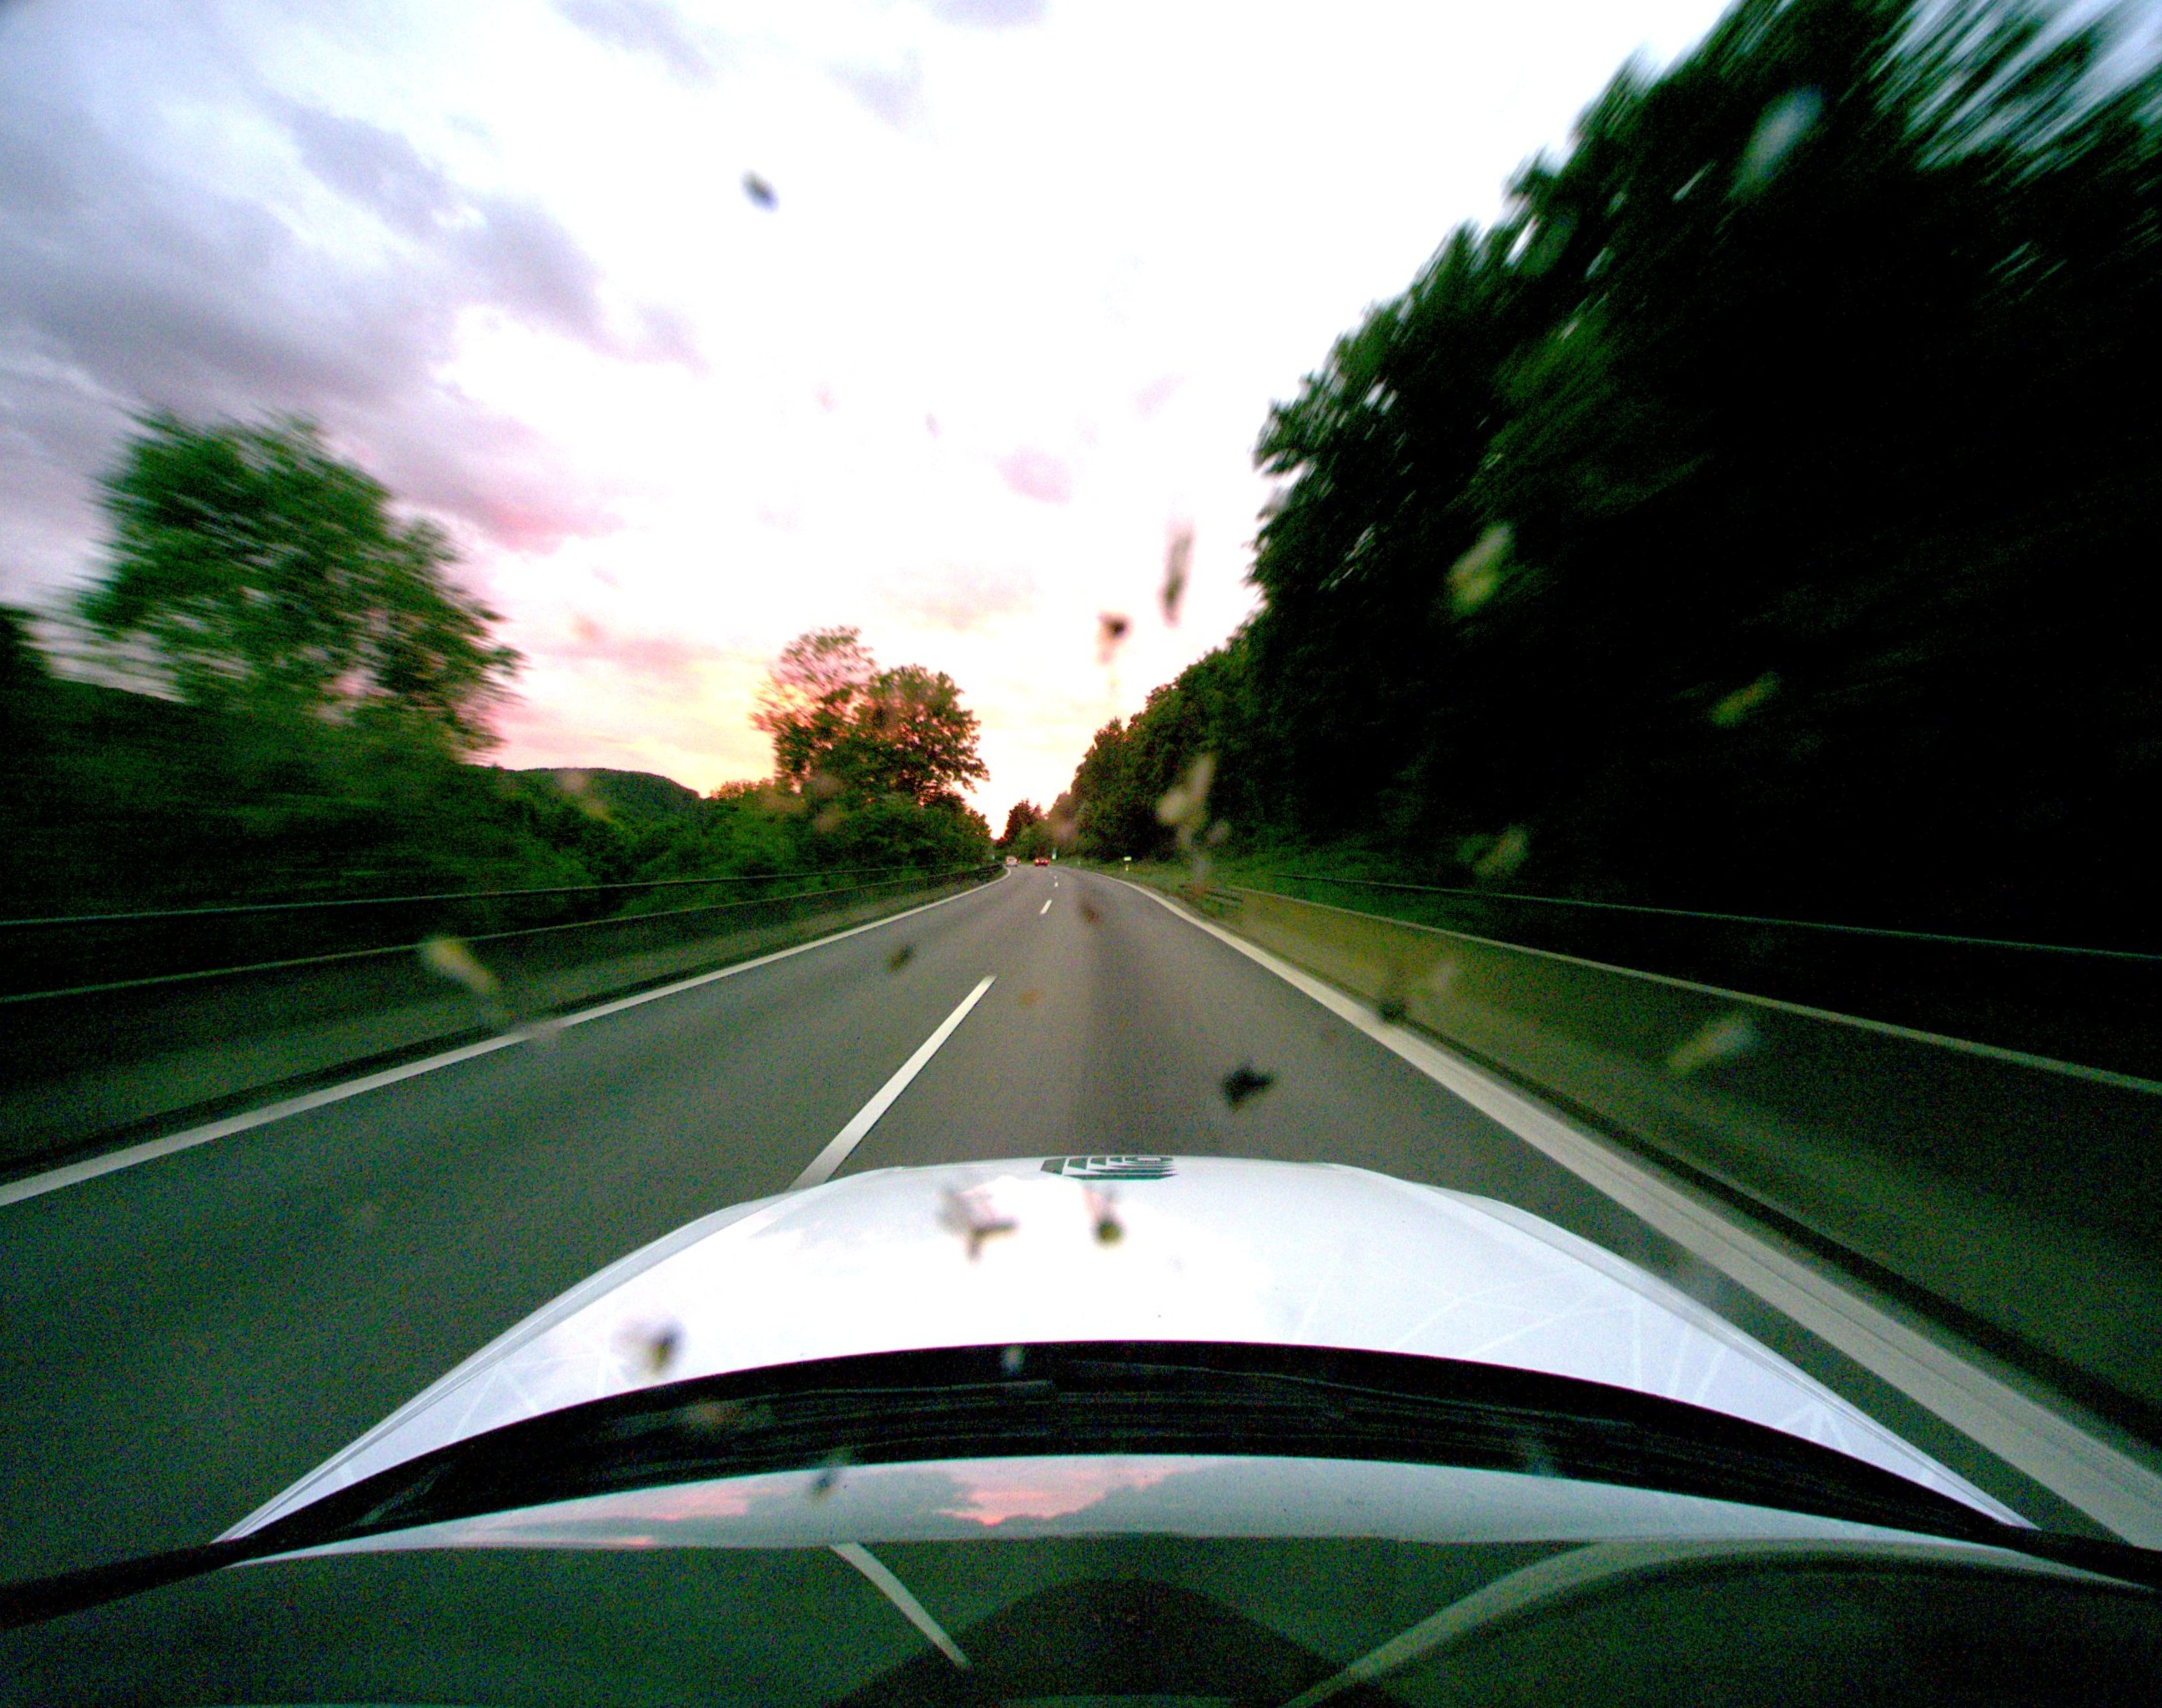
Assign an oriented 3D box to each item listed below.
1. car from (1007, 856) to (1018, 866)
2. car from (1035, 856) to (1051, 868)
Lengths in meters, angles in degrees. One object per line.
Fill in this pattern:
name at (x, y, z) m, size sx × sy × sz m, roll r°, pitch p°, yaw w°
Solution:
car at (-11.541, 1.211, 136.717) m, size 1.714 × 1.502 × 3.994 m, roll 0°, pitch -2°, yaw -3°
car at (-6.137, 1.251, 131.768) m, size 1.993 × 1.646 × 3.986 m, roll 2°, pitch -4°, yaw -9°
